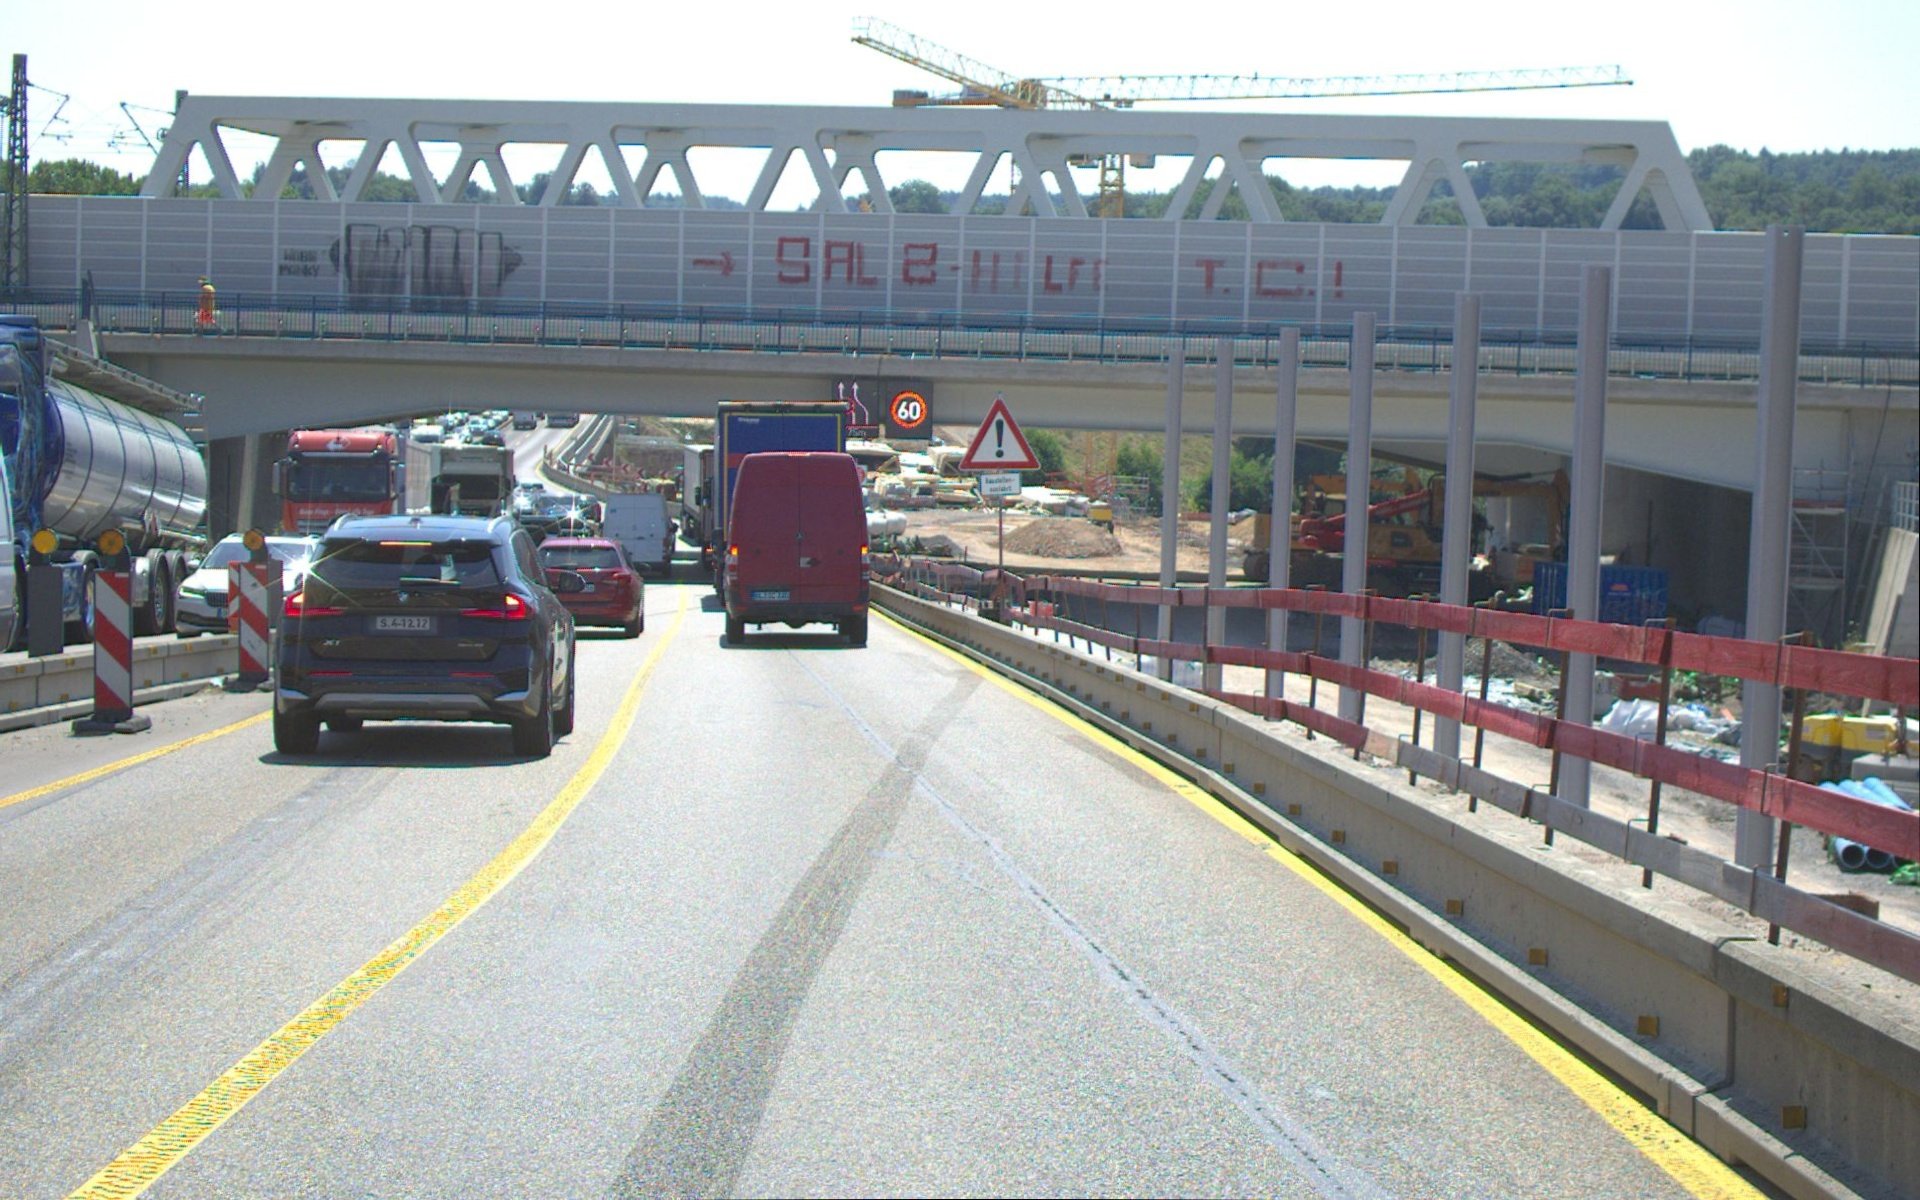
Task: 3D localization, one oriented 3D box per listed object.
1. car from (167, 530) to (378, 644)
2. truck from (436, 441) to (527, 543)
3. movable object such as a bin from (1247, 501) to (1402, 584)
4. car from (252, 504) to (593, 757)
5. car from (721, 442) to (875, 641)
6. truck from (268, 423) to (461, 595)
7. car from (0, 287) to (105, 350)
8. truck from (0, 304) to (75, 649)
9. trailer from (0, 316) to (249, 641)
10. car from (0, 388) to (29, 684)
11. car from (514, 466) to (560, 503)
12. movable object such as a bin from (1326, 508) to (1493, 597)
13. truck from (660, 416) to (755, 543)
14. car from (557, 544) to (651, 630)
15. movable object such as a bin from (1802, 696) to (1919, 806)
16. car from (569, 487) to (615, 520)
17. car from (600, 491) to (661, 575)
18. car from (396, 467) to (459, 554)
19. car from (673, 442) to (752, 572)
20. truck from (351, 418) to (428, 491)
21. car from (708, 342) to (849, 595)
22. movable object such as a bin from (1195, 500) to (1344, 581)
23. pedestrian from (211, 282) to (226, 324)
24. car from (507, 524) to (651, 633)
[{"bbox_3d":[-9.086,-0.206,45.787,1.817,1.379,4.584,1,2,1],"label":"car"},{"bbox_3d":[-18.991,-4.286,137.008,2.834,3.839,12.915,1,2,-5],"label":"truck"},{"bbox_3d":[12.664,-2.009,119.767,5.146,2.798,2.142,1,1,1],"label":"movable object such as a bin"},{"bbox_3d":[-3.679,0.133,24.269,1.879,1.612,4.500,0,2,-2],"label":"car"},{"bbox_3d":[-2.354,-0.856,48.798,1.988,2.681,4.625,0,2,-5],"label":"car"},{"bbox_3d":[-14.351,-2.221,83.951,2.834,3.839,12.914,1,2,-2],"label":"truck"},{"bbox_3d":[-28.265,-8.470,103.400,4.555,1.776,1.960,1,1,9],"label":"car"},{"bbox_3d":[-12.325,-1.489,41.240,2.357,4.001,4.000,1,1,0],"label":"truck"},{"bbox_3d":[-12.324,-1.663,48.119,2.347,4.001,11.450,1,1,0],"label":"trailer"},{"bbox_3d":[-9.407,-0.509,27.648,1.993,2.598,7.011,1,1,-1],"label":"car"},{"bbox_3d":[-23.822,-6.490,193.496,1.993,2.007,4.002,1,2,-15],"label":"car"},{"bbox_3d":[14.716,-1.571,112.796,5.146,2.798,2.142,1,1,1],"label":"movable object such as a bin"},{"bbox_3d":[-11.325,-5.319,152.914,2.834,5.380,12.916,1,2,-10],"label":"truck"},{"bbox_3d":[-7.274,-0.292,70.382,1.839,1.648,4.166,0,2,-6],"label":"car"},{"bbox_3d":[14.845,2.358,53.356,3.102,1.558,1.550,2,2,31],"label":"movable object such as a bin"},{"bbox_3d":[-19.088,-5.012,178.198,1.877,1.650,4.001,1,2,-14],"label":"car"},{"bbox_3d":[-9.765,-2.020,102.135,1.775,2.432,4.207,0,2,-5],"label":"car"},{"bbox_3d":[-16.669,-2.802,107.751,1.580,2.645,5.393,1,1,-5],"label":"car"},{"bbox_3d":[-8.183,-3.068,113.103,2.449,4.146,6.862,0,2,-5],"label":"car"},{"bbox_3d":[-31.771,-8.024,190.987,2.834,3.839,12.917,1,2,-15],"label":"truck"},{"bbox_3d":[-3.991,-2.757,73.511,2.620,5.014,10.399,0,2,-5],"label":"car"},{"bbox_3d":[11.153,-2.151,124.186,5.146,2.798,2.142,1,1,1],"label":"movable object such as a bin"},{"bbox_3d":[-21.803,-8.744,101.116,0.336,1.207,0.308,1,1,9],"label":"pedestrian"},{"bbox_3d":[-5.605,-0.346,50.951,1.776,1.512,4.207,0,2,-2],"label":"car"}]
